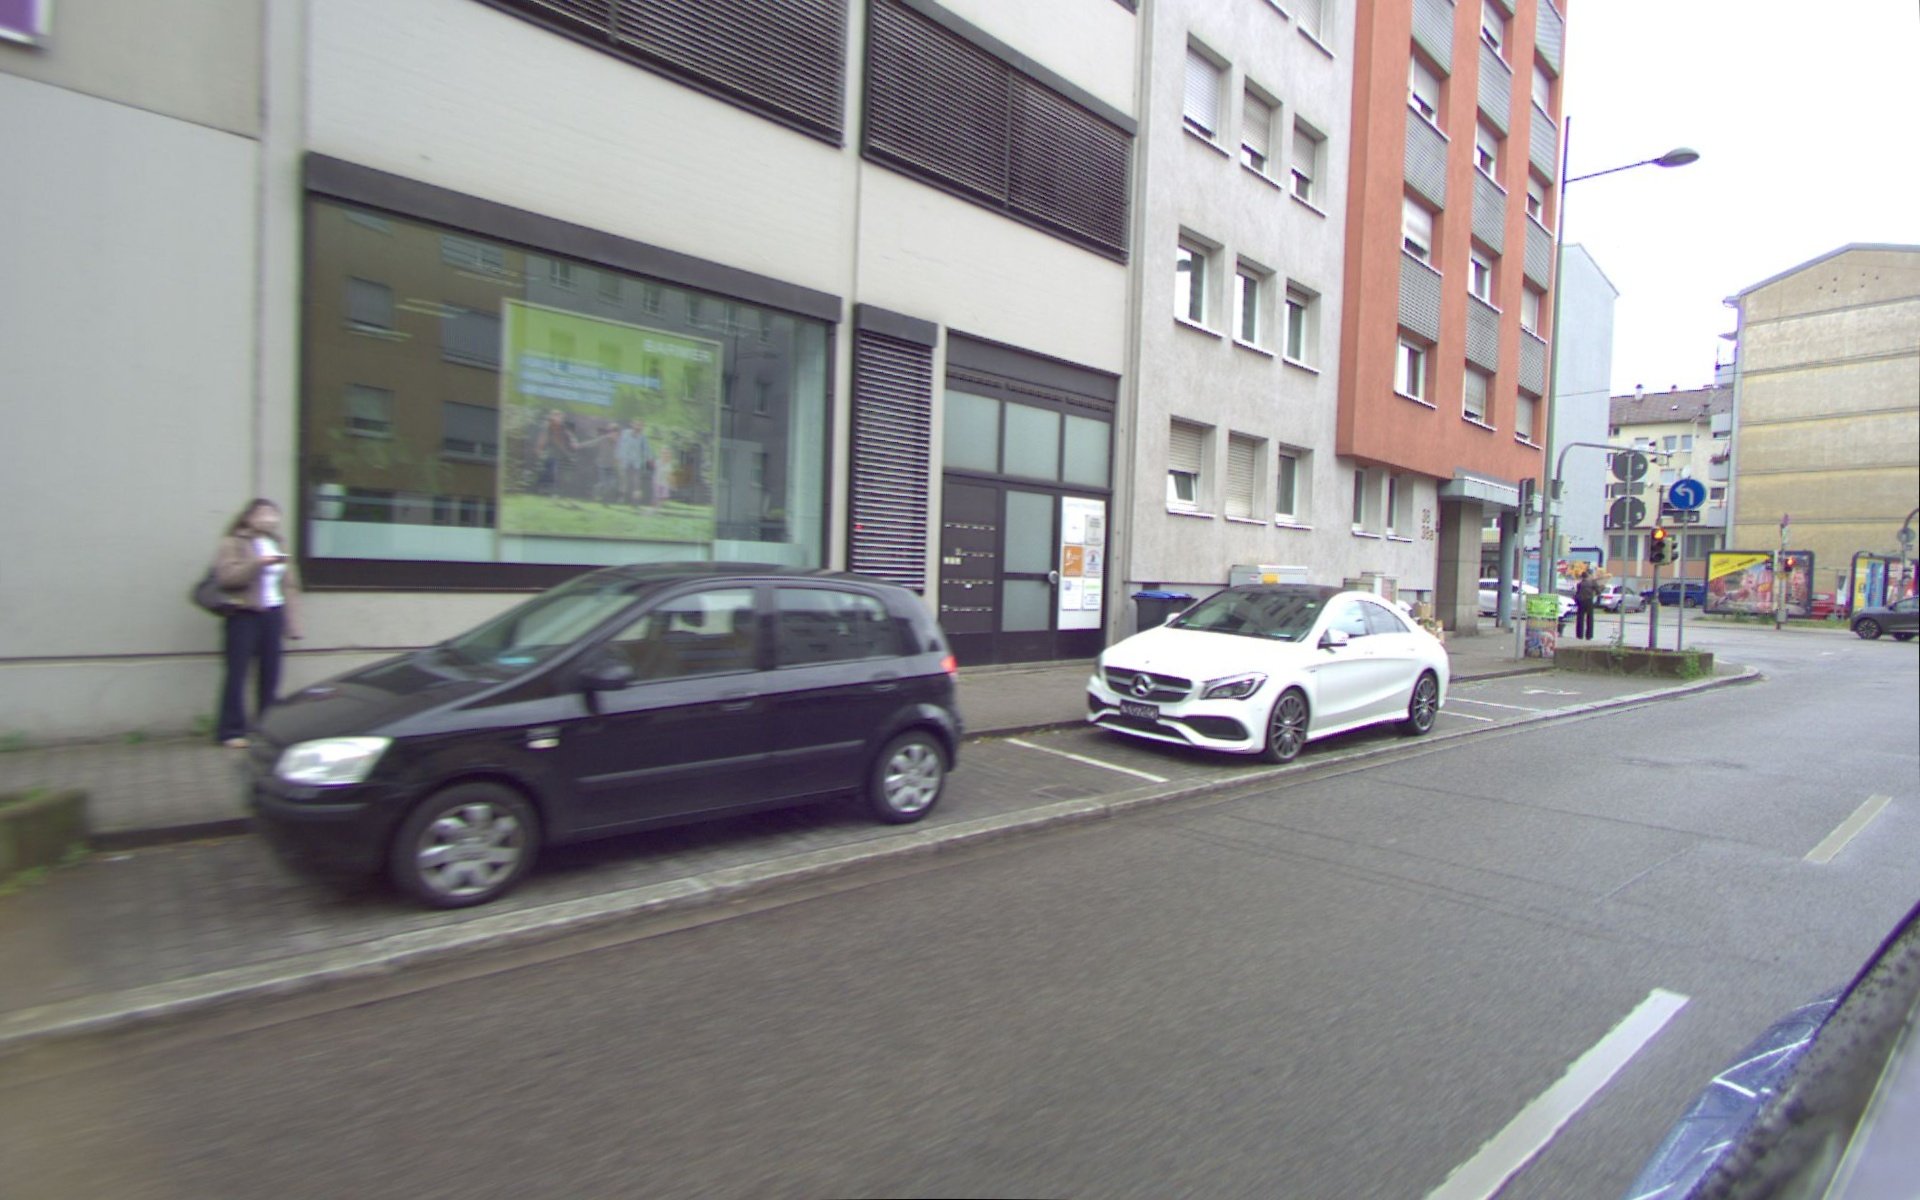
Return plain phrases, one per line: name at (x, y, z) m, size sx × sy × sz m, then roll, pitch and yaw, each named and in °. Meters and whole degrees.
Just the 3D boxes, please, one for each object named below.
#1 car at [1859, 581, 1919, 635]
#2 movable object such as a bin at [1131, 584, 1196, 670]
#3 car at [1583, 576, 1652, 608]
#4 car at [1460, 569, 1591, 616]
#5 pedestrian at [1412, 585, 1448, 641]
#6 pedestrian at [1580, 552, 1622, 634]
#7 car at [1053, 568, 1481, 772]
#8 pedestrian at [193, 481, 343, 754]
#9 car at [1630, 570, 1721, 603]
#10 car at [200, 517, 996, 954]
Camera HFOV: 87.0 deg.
car at (30.572, 0.302, 31.102) m, size 1.798 × 1.641 × 4.010 m, roll 1°, pitch 2°, yaw -15°
movable object such as a bin at (2.797, 0.354, 13.903) m, size 0.505 × 1.117 × 0.680 m, roll 0°, pitch 2°, yaw -42°
car at (33.414, -0.404, 51.424) m, size 3.671 × 1.474 × 1.739 m, roll 0°, pitch 2°, yaw -37°
car at (21.723, -0.317, 39.023) m, size 1.802 × 1.641 × 4.000 m, roll 0°, pitch 2°, yaw -36°
pedestrian at (9.923, 0.256, 21.367) m, size 0.536 × 1.144 × 0.474 m, roll 3°, pitch 2°, yaw 43°
pedestrian at (17.378, -0.198, 27.468) m, size 0.797 × 2.179 × 0.732 m, roll 2°, pitch 2°, yaw 26°
car at (3.108, 0.495, 9.692) m, size 4.492 × 1.437 × 1.834 m, roll 0°, pitch 4°, yaw -42°
pedestrian at (-4.575, 0.086, 6.688) m, size 0.598 × 1.679 × 0.680 m, roll 7°, pitch 5°, yaw 43°
car at (40.798, -0.815, 57.808) m, size 1.801 × 1.732 × 3.801 m, roll 1°, pitch 2°, yaw -21°
car at (-1.758, 0.439, 5.559) m, size 3.740 × 1.577 × 1.705 m, roll 0°, pitch 4°, yaw -42°
